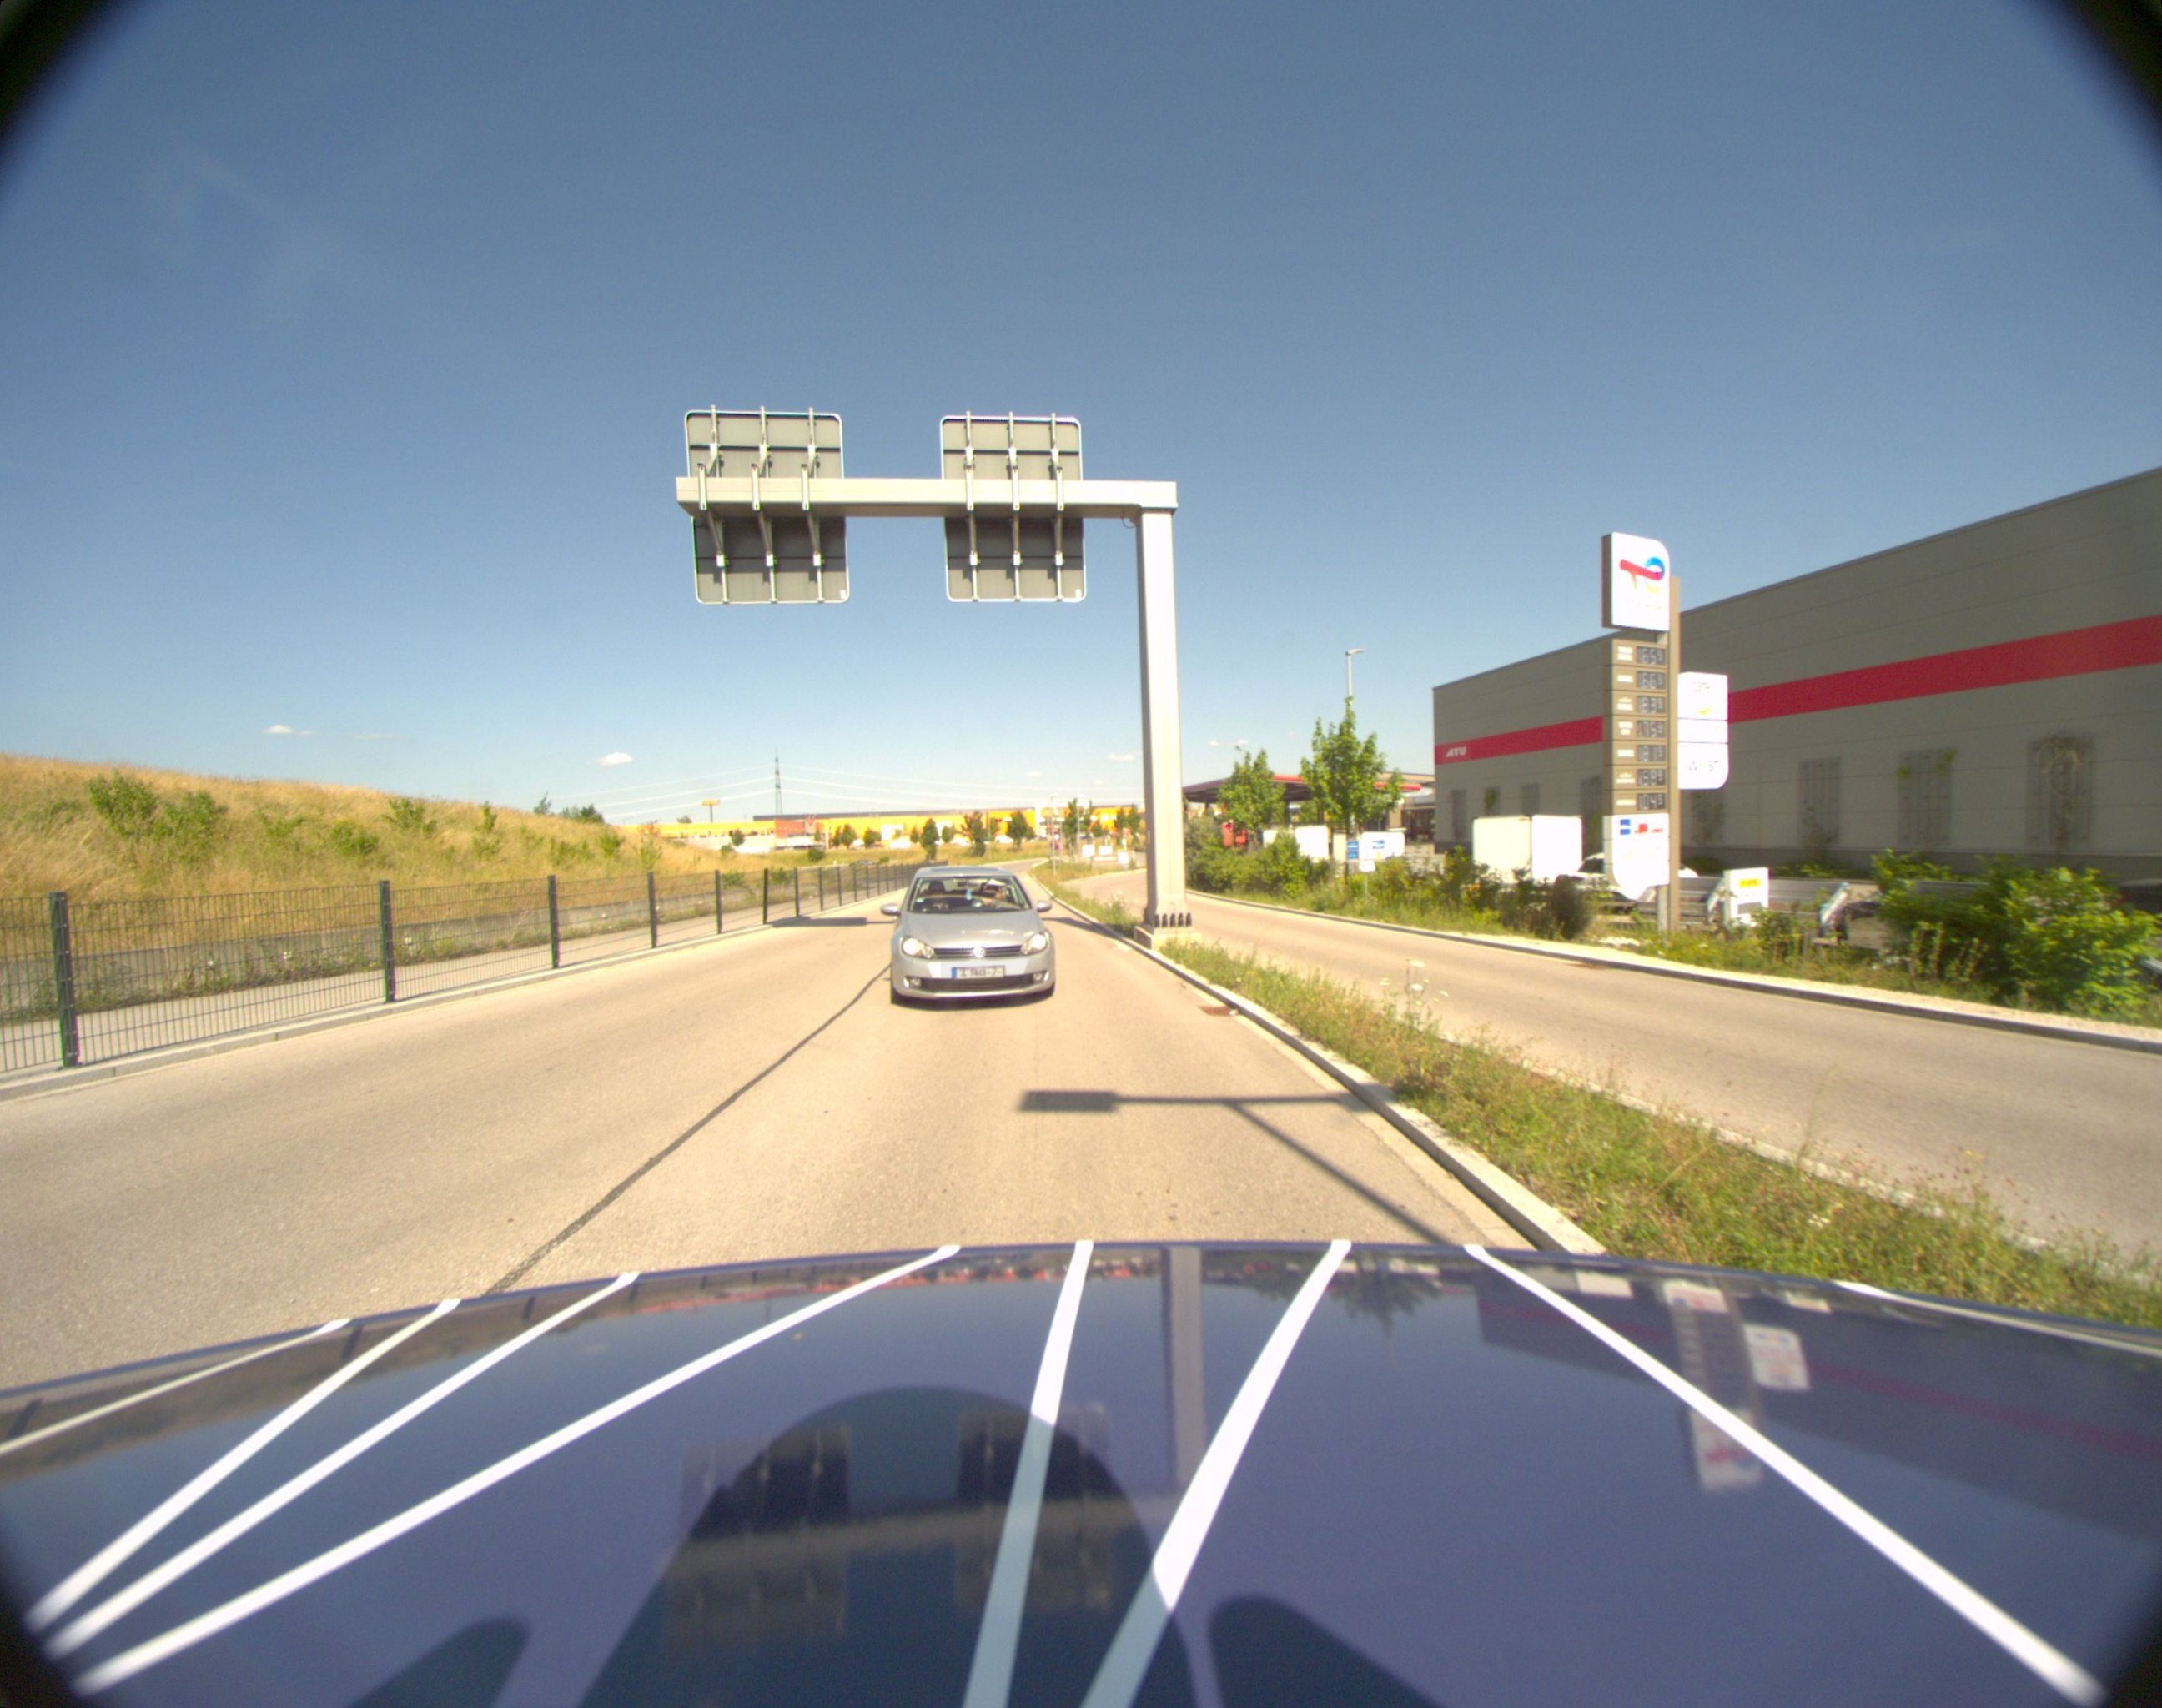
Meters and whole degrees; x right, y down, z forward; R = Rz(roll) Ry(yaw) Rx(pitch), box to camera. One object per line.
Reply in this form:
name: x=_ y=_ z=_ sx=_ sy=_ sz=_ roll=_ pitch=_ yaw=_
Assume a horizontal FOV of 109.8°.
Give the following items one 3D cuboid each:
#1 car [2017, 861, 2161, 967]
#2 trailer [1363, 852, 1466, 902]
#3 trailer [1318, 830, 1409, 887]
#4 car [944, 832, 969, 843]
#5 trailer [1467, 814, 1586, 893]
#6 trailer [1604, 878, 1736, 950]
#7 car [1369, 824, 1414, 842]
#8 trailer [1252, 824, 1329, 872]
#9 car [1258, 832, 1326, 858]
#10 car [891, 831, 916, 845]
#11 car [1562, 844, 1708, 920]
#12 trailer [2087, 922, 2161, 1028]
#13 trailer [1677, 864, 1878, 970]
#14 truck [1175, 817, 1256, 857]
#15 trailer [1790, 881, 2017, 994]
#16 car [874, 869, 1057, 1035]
car: x=17.172 y=0.922 z=10.884 sx=1.803 sy=1.475 sz=4.494 roll=-3 pitch=1 yaw=-5
trailer: x=11.847 y=0.767 z=26.959 sx=3.605 sy=1.501 sz=1.596 roll=-3 pitch=1 yaw=-33
trailer: x=10.952 y=0.138 z=29.455 sx=2.741 sy=2.002 sz=1.995 roll=-3 pitch=2 yaw=-33
car: x=-24.743 y=-3.216 z=151.074 sx=4.637 sy=2.002 sz=1.998 roll=-3 pitch=1 yaw=-11
trailer: x=12.540 y=-0.049 z=21.340 sx=3.245 sy=2.002 sz=1.743 roll=-4 pitch=2 yaw=-37
trailer: x=11.528 y=1.107 z=14.836 sx=2.780 sy=1.079 sz=1.317 roll=-3 pitch=2 yaw=-36
car: x=30.081 y=-2.036 z=73.662 sx=3.683 sy=1.565 sz=1.695 roll=-3 pitch=1 yaw=0
trailer: x=9.582 y=-0.294 z=34.595 sx=1.994 sy=2.002 sz=3.212 roll=-1 pitch=2 yaw=45
car: x=15.757 y=-0.663 z=56.894 sx=4.522 sy=1.748 sz=1.794 roll=-3 pitch=1 yaw=-11
car: x=-34.894 y=-3.097 z=149.624 sx=4.637 sy=2.534 sz=1.998 roll=-3 pitch=1 yaw=-11
car: x=13.792 y=0.619 z=18.839 sx=4.006 sy=1.527 sz=1.714 roll=-3 pitch=2 yaw=-35
trailer: x=13.533 y=1.439 z=9.011 sx=2.842 sy=0.877 sz=1.861 roll=-4 pitch=2 yaw=-38
trailer: x=12.159 y=1.006 z=13.257 sx=3.195 sy=1.475 sz=1.545 roll=-3 pitch=2 yaw=-27
truck: x=12.263 y=-1.570 z=69.158 sx=6.914 sy=3.299 sz=2.636 roll=-3 pitch=2 yaw=-27
trailer: x=12.457 y=1.173 z=11.518 sx=2.915 sy=1.314 sz=1.387 roll=-3 pitch=1 yaw=-22
car: x=-1.393 y=0.972 z=9.312 sx=1.747 sy=1.459 sz=3.957 roll=0 pitch=1 yaw=-8
